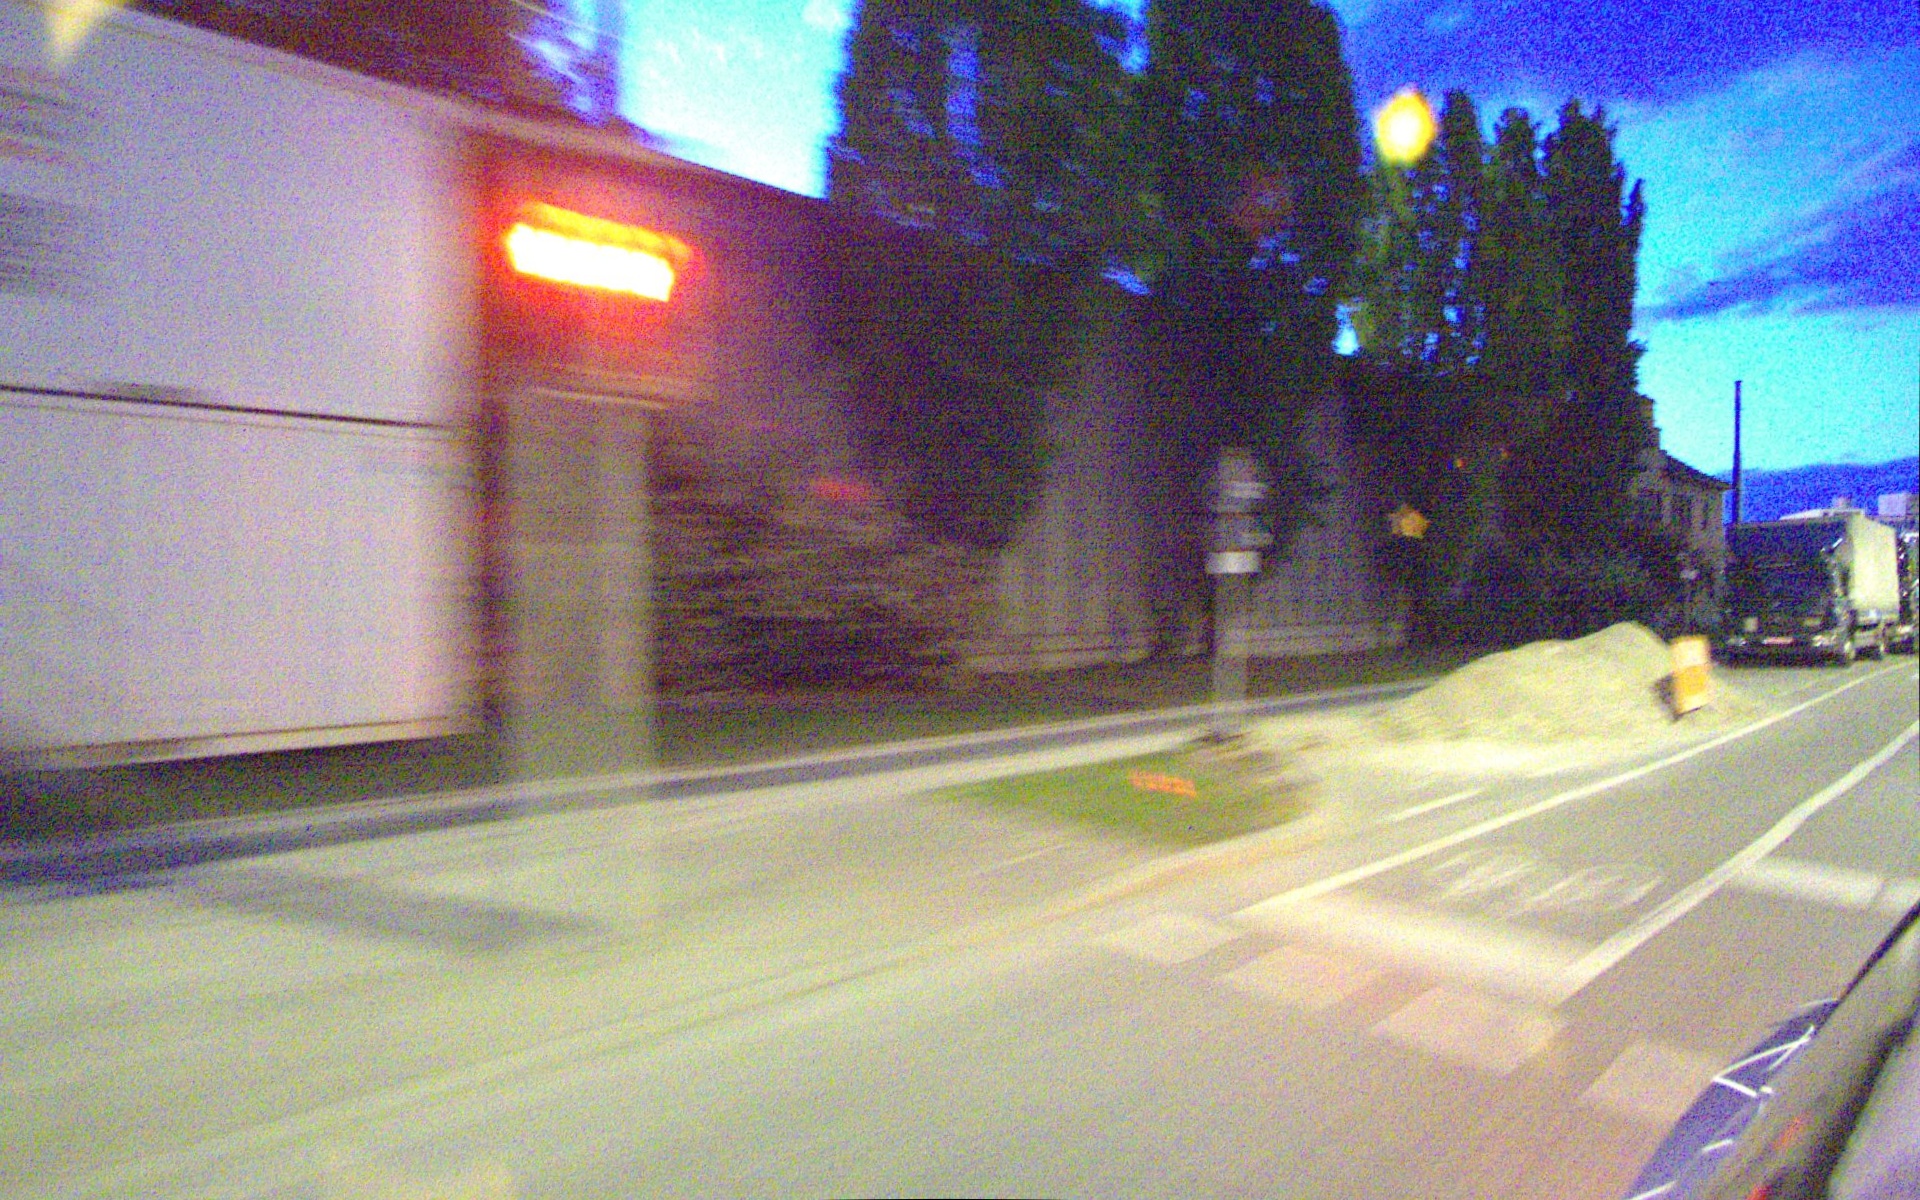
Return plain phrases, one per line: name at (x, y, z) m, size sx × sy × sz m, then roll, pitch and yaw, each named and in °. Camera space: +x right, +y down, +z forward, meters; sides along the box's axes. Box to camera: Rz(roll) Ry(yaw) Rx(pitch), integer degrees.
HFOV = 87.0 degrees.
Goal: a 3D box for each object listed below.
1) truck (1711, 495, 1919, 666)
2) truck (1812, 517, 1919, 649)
truck at (23.104, -0.459, 26.997) m, size 10.045 × 3.831 × 2.760 m, roll 0°, pitch 0°, yaw -40°
truck at (30.613, -0.512, 33.033) m, size 8.974 × 3.831 × 2.761 m, roll 0°, pitch 0°, yaw -40°
